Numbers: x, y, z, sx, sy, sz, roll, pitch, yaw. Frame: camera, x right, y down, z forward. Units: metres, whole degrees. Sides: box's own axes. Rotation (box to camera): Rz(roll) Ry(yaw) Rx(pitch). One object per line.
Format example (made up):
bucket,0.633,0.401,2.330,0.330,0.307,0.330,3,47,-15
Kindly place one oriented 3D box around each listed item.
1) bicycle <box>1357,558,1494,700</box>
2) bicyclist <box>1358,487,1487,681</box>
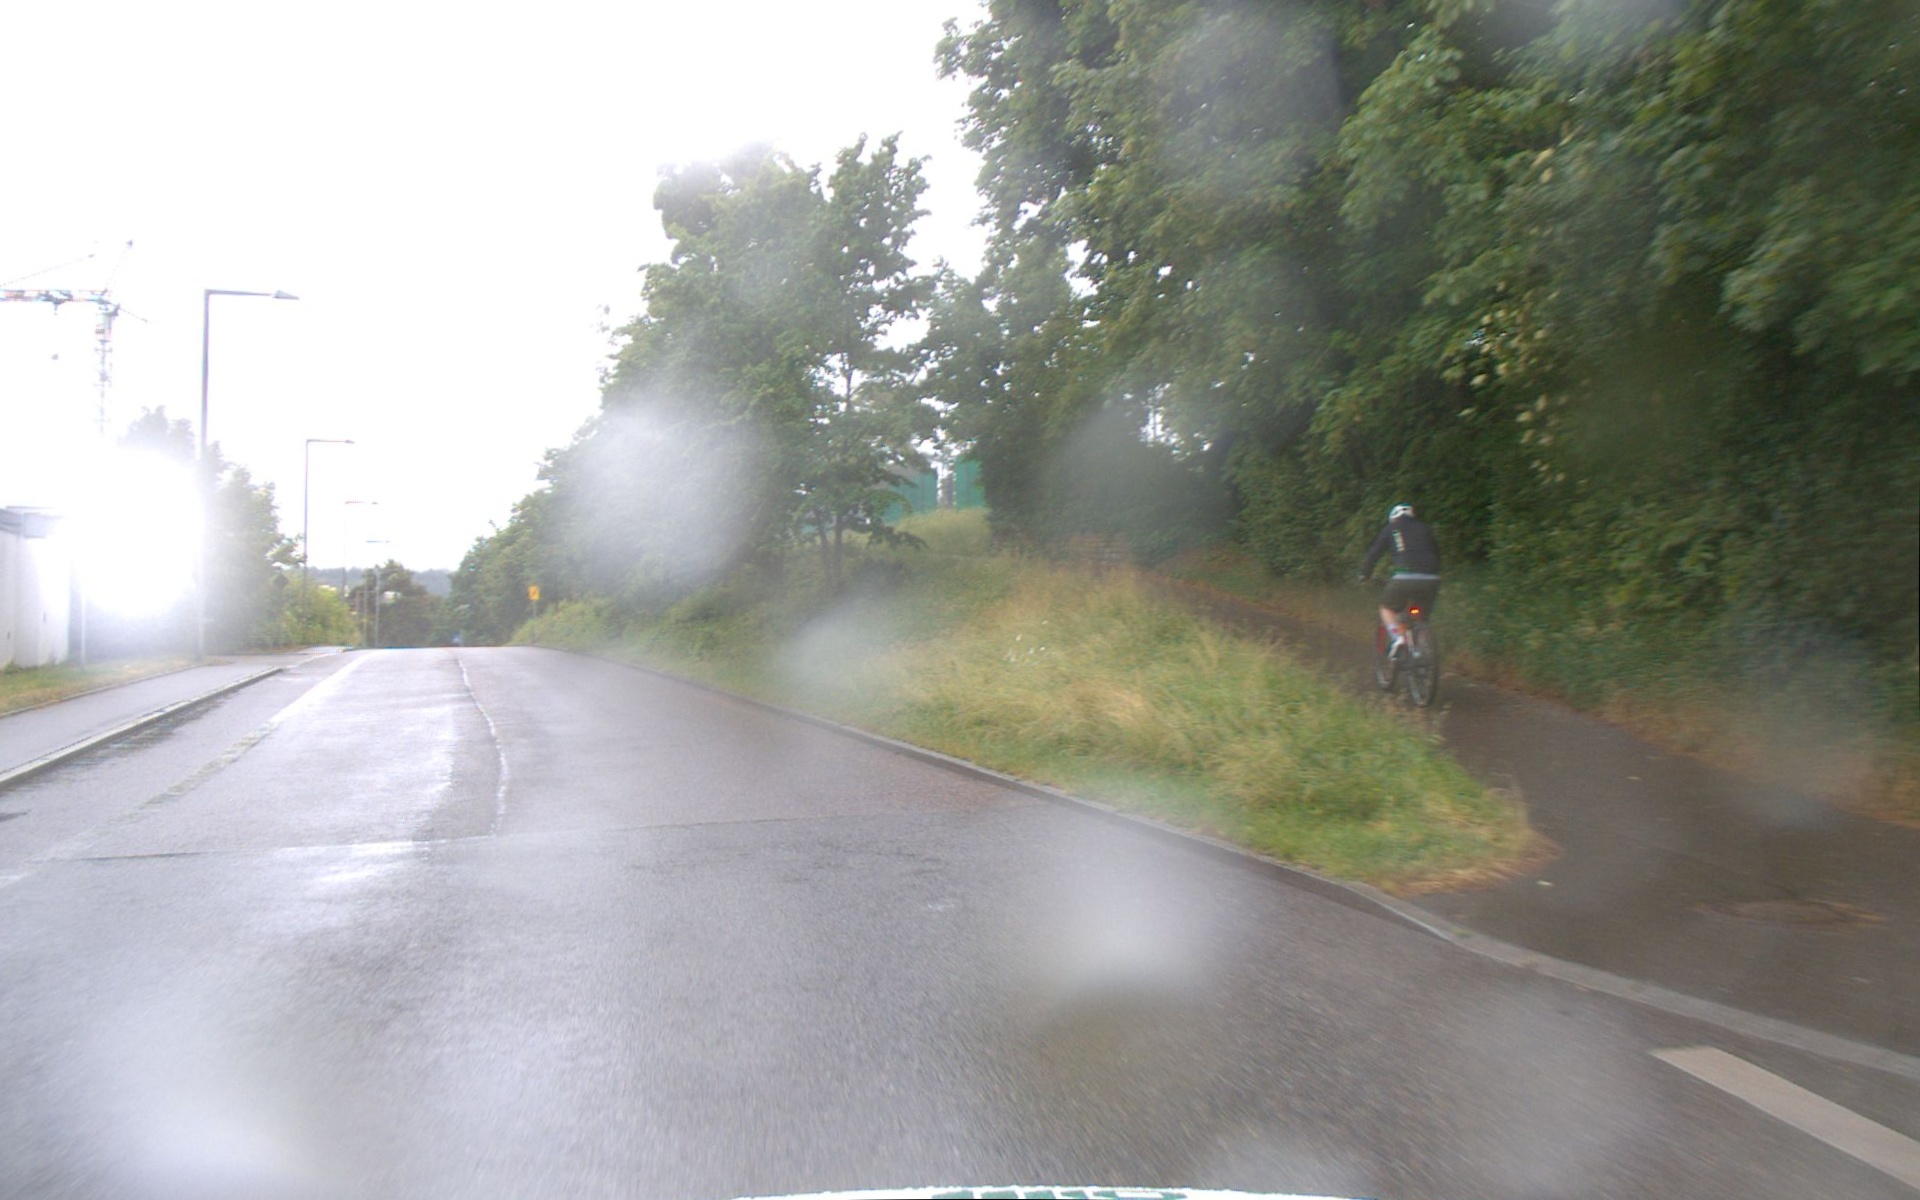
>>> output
bicycle,4.112,0.224,14.727,0.518,1.103,1.618,-1,4,-10
bicyclist,4.095,-0.169,14.701,0.708,1.642,0.902,-1,5,-16
